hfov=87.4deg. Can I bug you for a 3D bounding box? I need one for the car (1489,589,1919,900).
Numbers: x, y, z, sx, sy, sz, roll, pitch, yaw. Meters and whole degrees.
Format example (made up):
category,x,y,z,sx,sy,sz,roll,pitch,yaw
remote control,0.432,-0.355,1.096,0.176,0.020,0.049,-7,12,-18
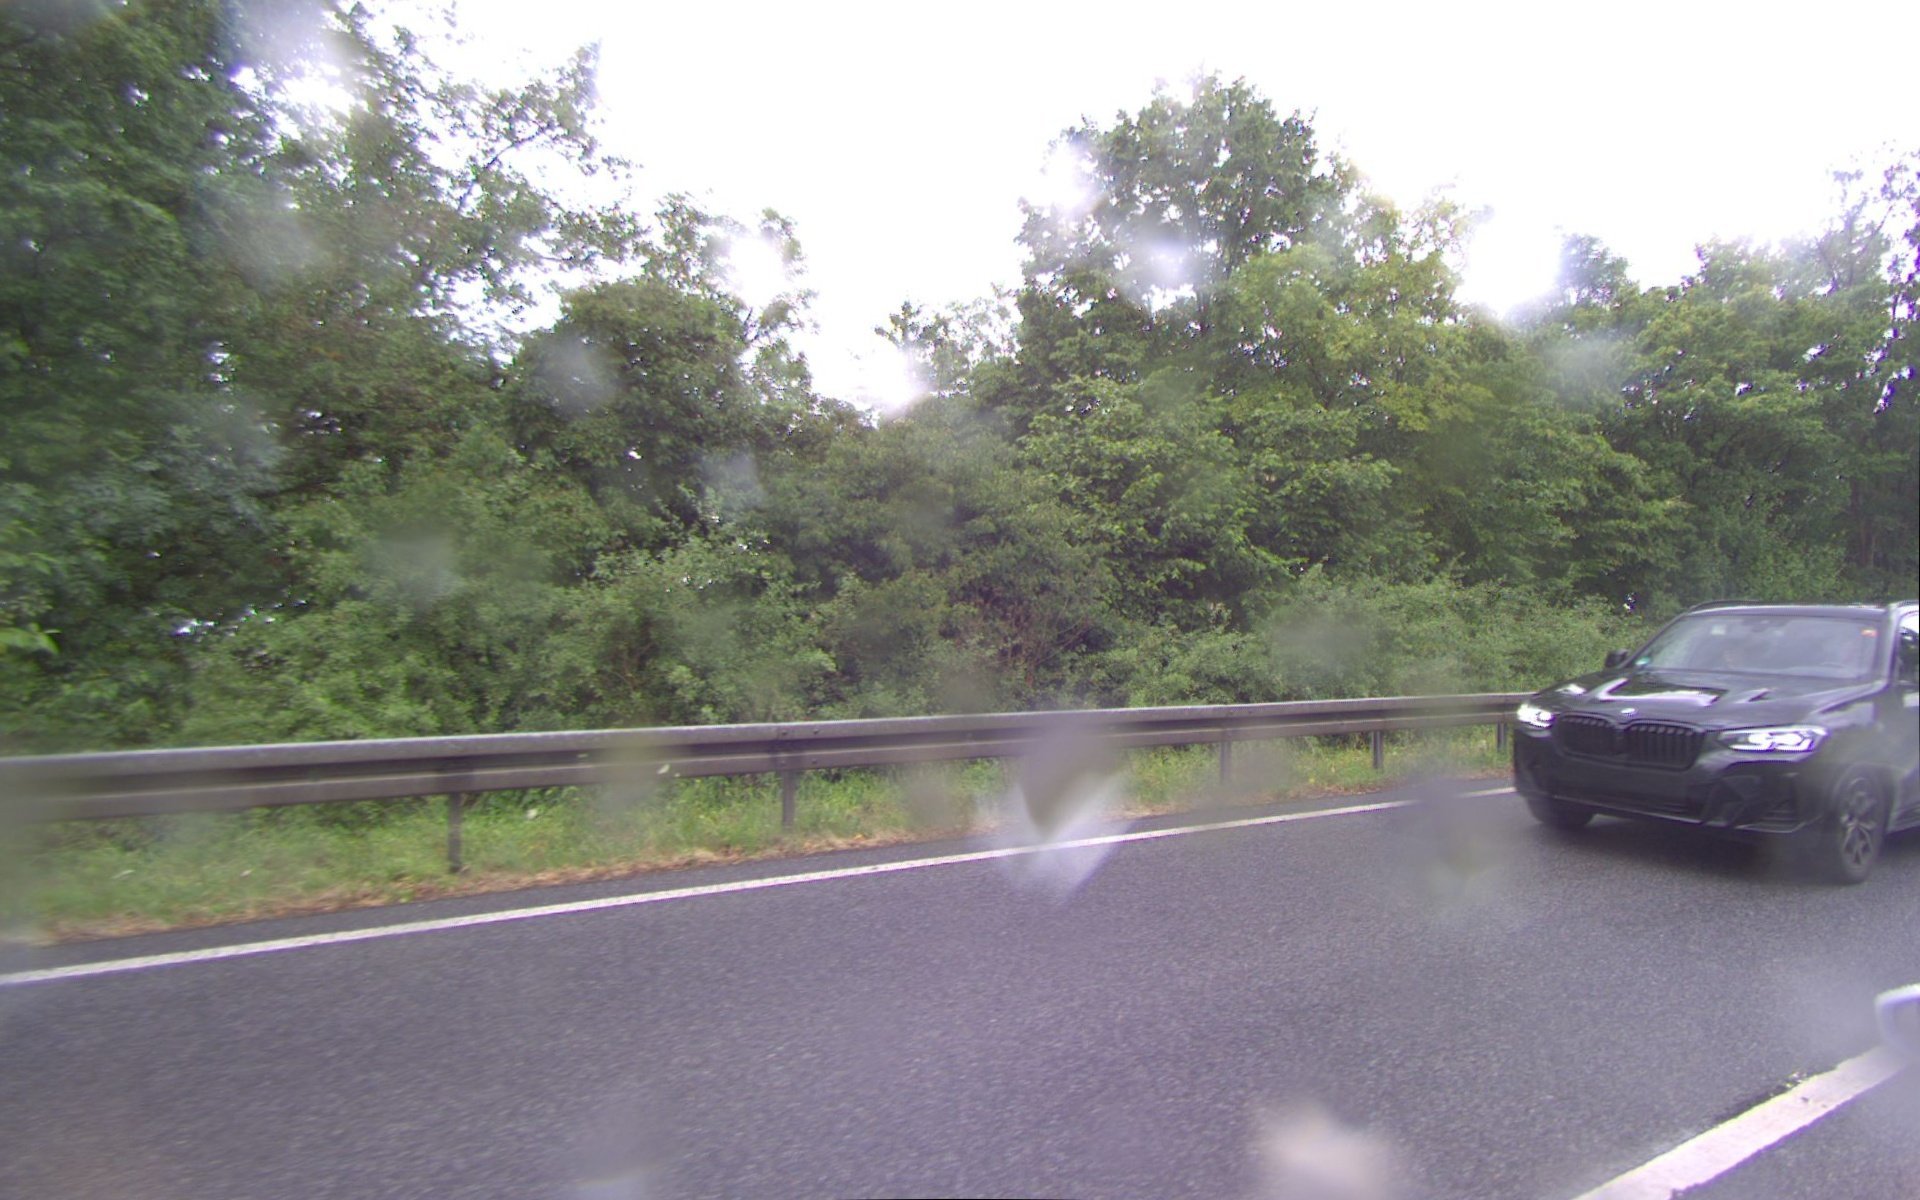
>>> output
category,x,y,z,sx,sy,sz,roll,pitch,yaw
car,5.983,0.816,7.269,4.248,1.666,1.838,1,0,-30
